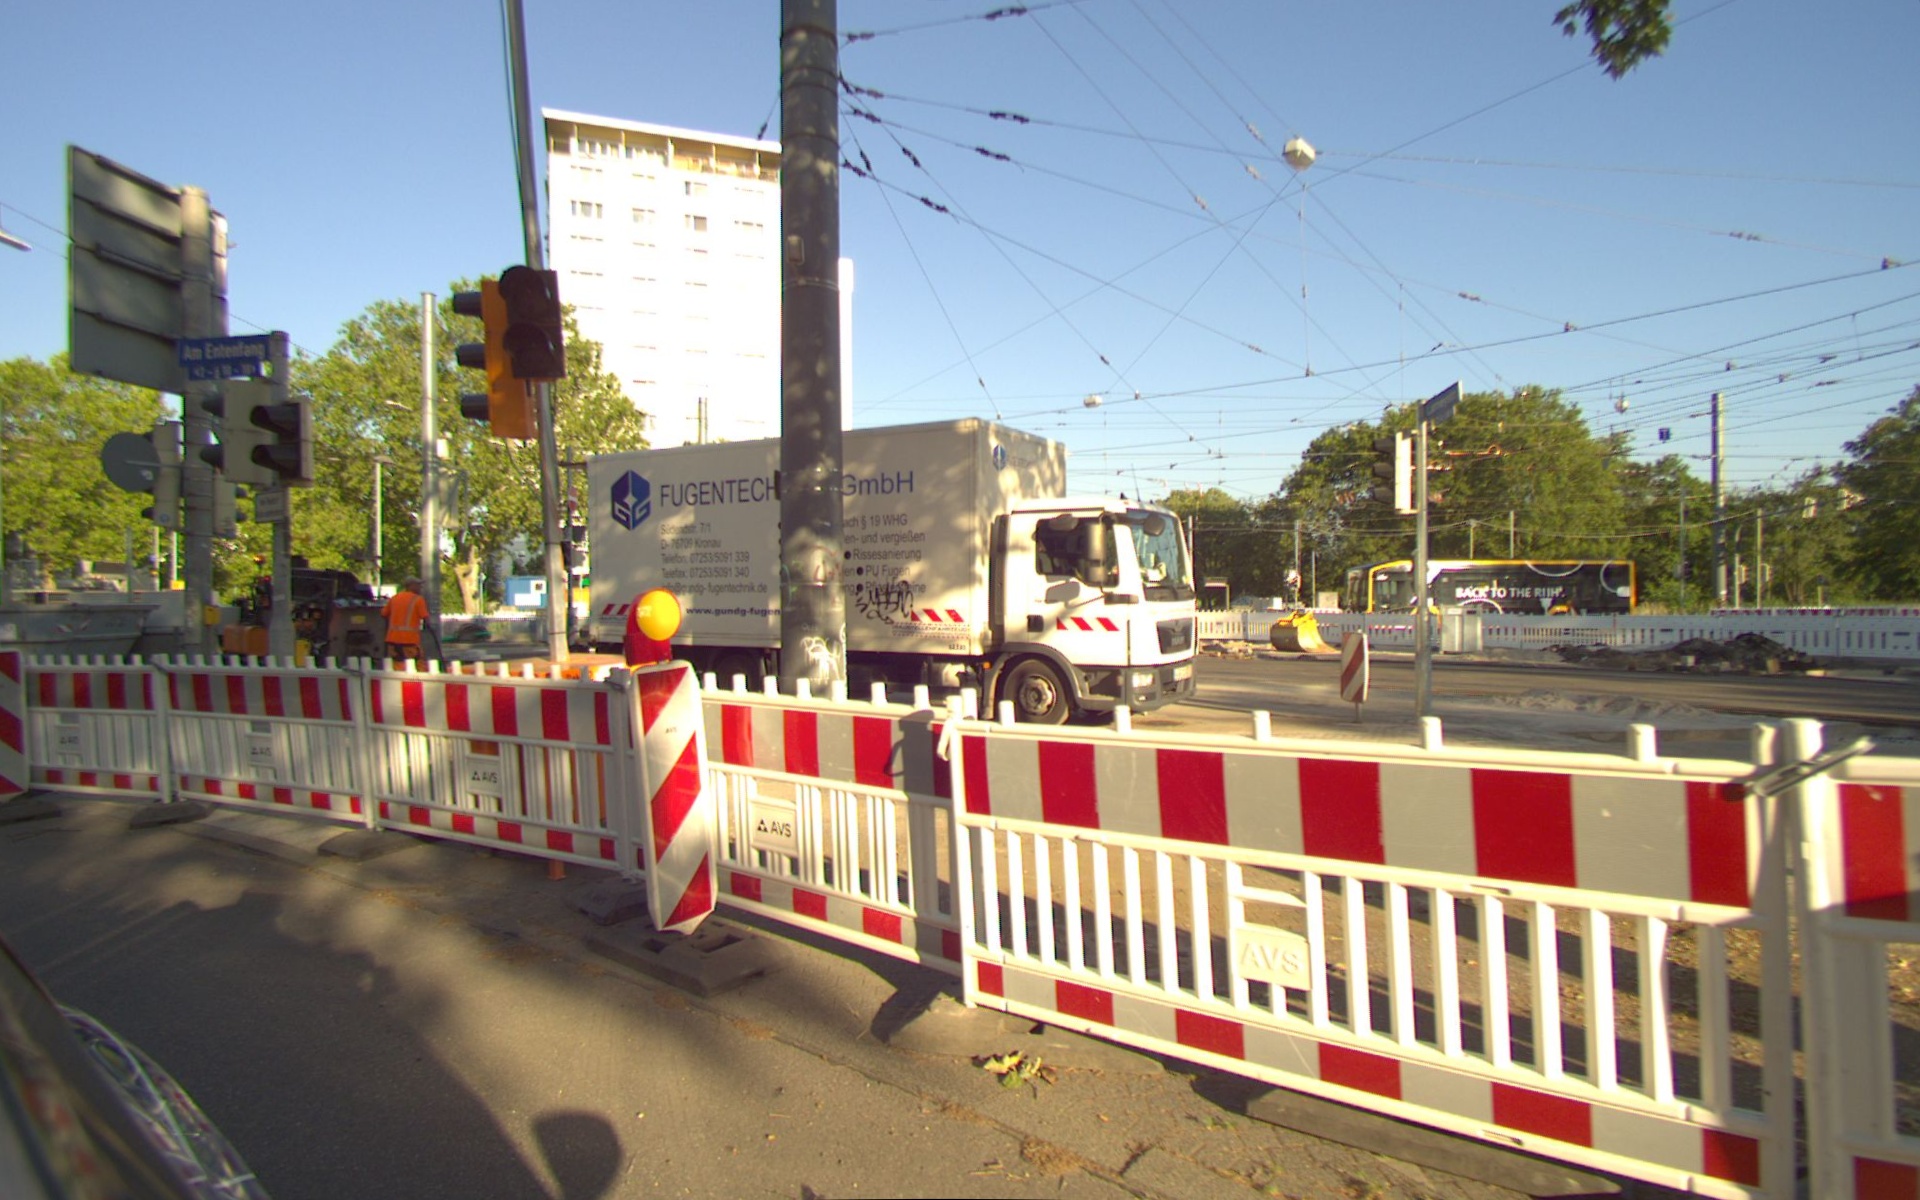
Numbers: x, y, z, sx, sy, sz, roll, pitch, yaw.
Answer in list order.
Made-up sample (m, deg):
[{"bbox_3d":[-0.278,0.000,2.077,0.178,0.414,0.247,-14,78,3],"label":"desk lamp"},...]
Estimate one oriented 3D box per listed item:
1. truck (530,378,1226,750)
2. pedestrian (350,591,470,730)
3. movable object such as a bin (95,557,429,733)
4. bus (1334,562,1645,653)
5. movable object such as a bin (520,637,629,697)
[{"bbox_3d":[-1.400,-0.265,13.127,8.944,3.568,2.794,-1,-1,29],"label":"truck"},{"bbox_3d":[-7.512,0.795,13.846,1.061,1.812,0.970,-1,-1,19],"label":"pedestrian"},{"bbox_3d":[-10.502,0.605,15.140,5.185,2.273,1.981,-1,1,29],"label":"movable object such as a bin"},{"bbox_3d":[23.141,0.335,44.617,12.122,3.751,3.089,0,-1,-2],"label":"bus"},{"bbox_3d":[-6.258,1.078,16.474,1.401,0.924,0.934,-1,-1,4],"label":"movable object such as a bin"}]
